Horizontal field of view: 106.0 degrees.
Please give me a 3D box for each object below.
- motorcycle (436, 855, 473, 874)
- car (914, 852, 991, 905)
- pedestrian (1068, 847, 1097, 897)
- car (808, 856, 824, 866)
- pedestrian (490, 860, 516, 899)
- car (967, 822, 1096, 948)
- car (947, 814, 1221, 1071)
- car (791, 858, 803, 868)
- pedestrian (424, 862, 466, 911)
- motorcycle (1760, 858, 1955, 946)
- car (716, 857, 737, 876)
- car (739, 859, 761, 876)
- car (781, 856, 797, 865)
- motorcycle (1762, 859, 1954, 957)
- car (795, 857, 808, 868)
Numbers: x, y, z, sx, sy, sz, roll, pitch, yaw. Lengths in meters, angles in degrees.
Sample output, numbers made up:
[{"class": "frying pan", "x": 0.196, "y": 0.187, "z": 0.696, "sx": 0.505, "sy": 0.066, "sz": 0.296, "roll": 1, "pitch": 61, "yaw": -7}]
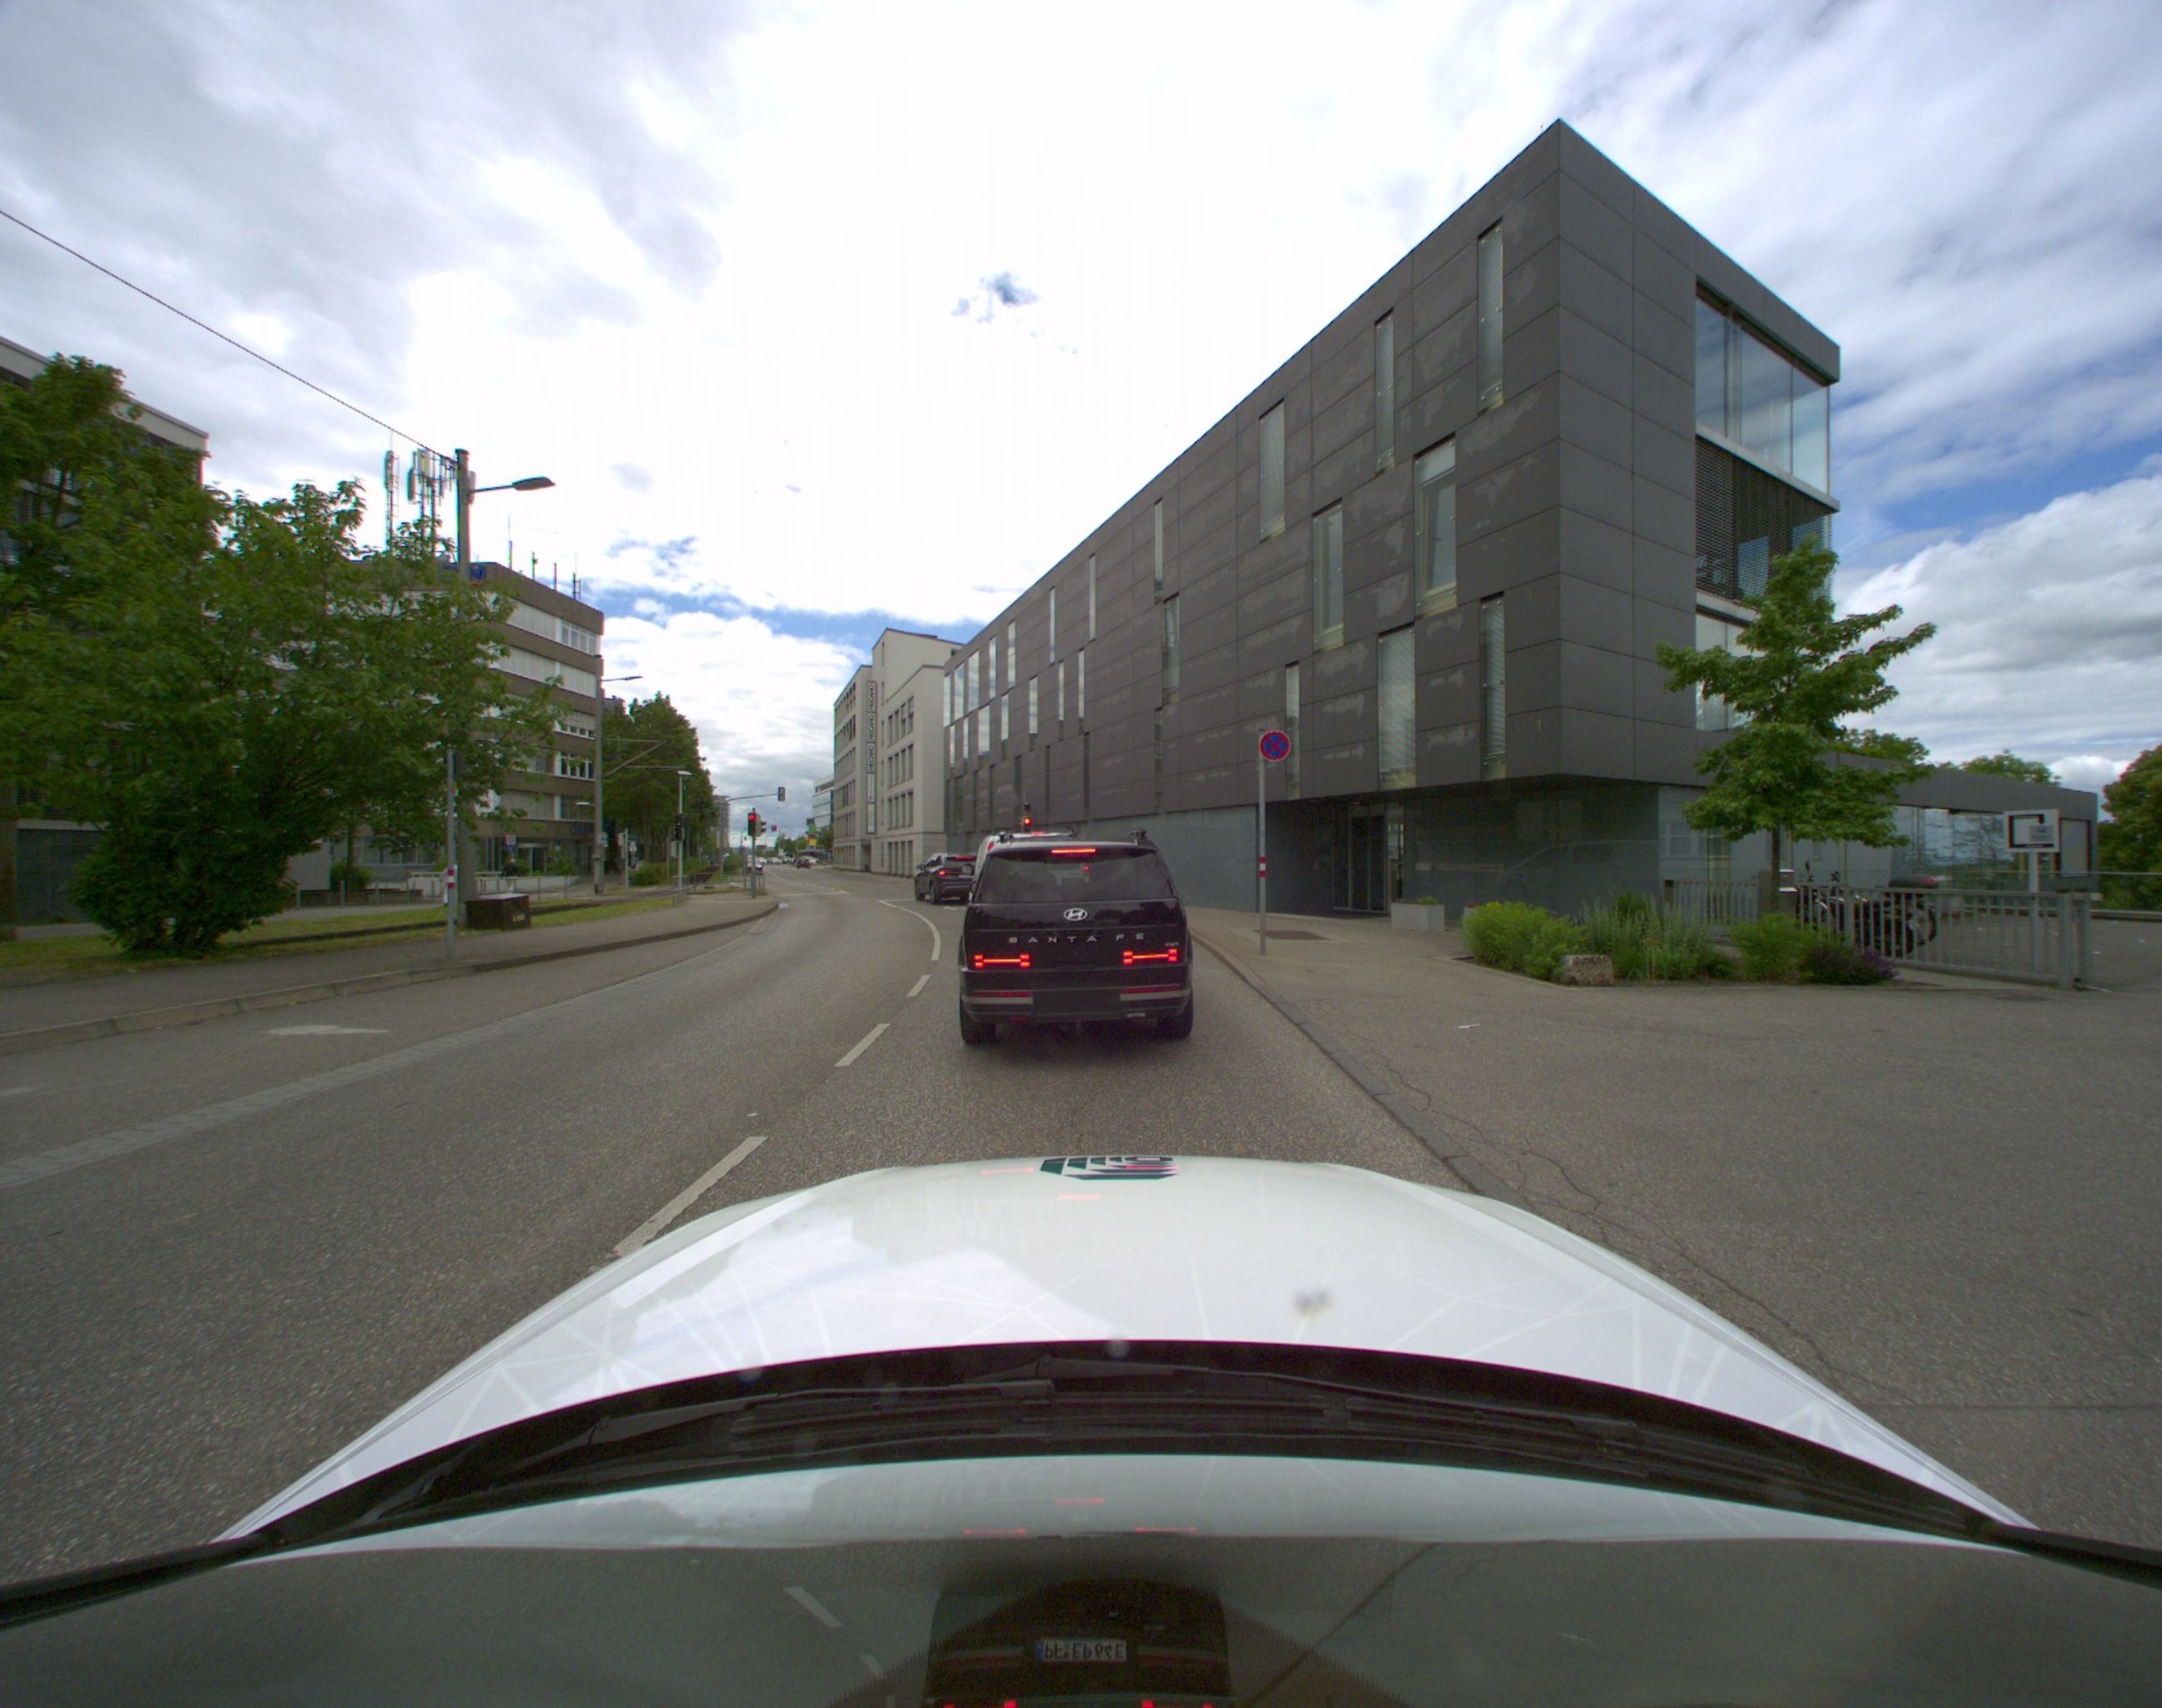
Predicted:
[{"class": "motorcycle", "x": -41.150, "y": 0.675, "z": 53.511, "sx": 1.875, "sy": 1.199, "sz": 0.567, "roll": -1, "pitch": 0, "yaw": -4}, {"class": "car", "x": -4.370, "y": 0.742, "z": 27.117, "sx": 1.765, "sy": 1.609, "sz": 4.159, "roll": 0, "pitch": 0, "yaw": -20}, {"class": "pedestrian", "x": 0.047, "y": 0.611, "z": 27.756, "sx": 0.715, "sy": 1.694, "sz": 0.858, "roll": 1, "pitch": -1, "yaw": -25}, {"class": "car", "x": -47.039, "y": 1.198, "z": 144.507, "sx": 2.007, "sy": 1.677, "sz": 3.960, "roll": 0, "pitch": 0, "yaw": -31}, {"class": "pedestrian", "x": -25.778, "y": 1.143, "z": 36.347, "sx": 0.688, "sy": 1.705, "sz": 0.680, "roll": -2, "pitch": 0, "yaw": -11}, {"class": "car", "x": -1.093, "y": 0.499, "z": 15.301, "sx": 1.932, "sy": 1.994, "sz": 4.519, "roll": 0, "pitch": 0, "yaw": -10}, {"class": "car", "x": -0.123, "y": 0.614, "z": 7.924, "sx": 1.905, "sy": 1.749, "sz": 4.390, "roll": -1, "pitch": 0, "yaw": -4}, {"class": "car", "x": -47.953, "y": 1.476, "z": 137.556, "sx": 1.765, "sy": 1.609, "sz": 4.159, "roll": 0, "pitch": 0, "yaw": -20}, {"class": "pedestrian", "x": -21.035, "y": 1.057, "z": 26.942, "sx": 0.852, "sy": 1.526, "sz": 0.987, "roll": -2, "pitch": 0, "yaw": -25}, {"class": "motorcycle", "x": 13.406, "y": 0.769, "z": 14.195, "sx": 0.669, "sy": 1.393, "sz": 2.449, "roll": 0, "pitch": 0, "yaw": -17}, {"class": "car", "x": -35.561, "y": 1.225, "z": 81.737, "sx": 1.687, "sy": 1.808, "sz": 4.322, "roll": -2, "pitch": 0, "yaw": -20}, {"class": "car", "x": -31.516, "y": 1.289, "z": 77.615, "sx": 1.774, "sy": 1.479, "sz": 3.972, "roll": -2, "pitch": 0, "yaw": -21}, {"class": "car", "x": -60.636, "y": 1.284, "z": 169.077, "sx": 2.009, "sy": 1.852, "sz": 3.956, "roll": 0, "pitch": 0, "yaw": -35}, {"class": "motorcycle", "x": 11.985, "y": 0.773, "z": 12.675, "sx": 0.669, "sy": 1.393, "sz": 2.112, "roll": 0, "pitch": 0, "yaw": -17}, {"class": "car", "x": -41.518, "y": 1.305, "z": 120.831, "sx": 1.765, "sy": 1.609, "sz": 4.159, "roll": 0, "pitch": 0, "yaw": -20}]
